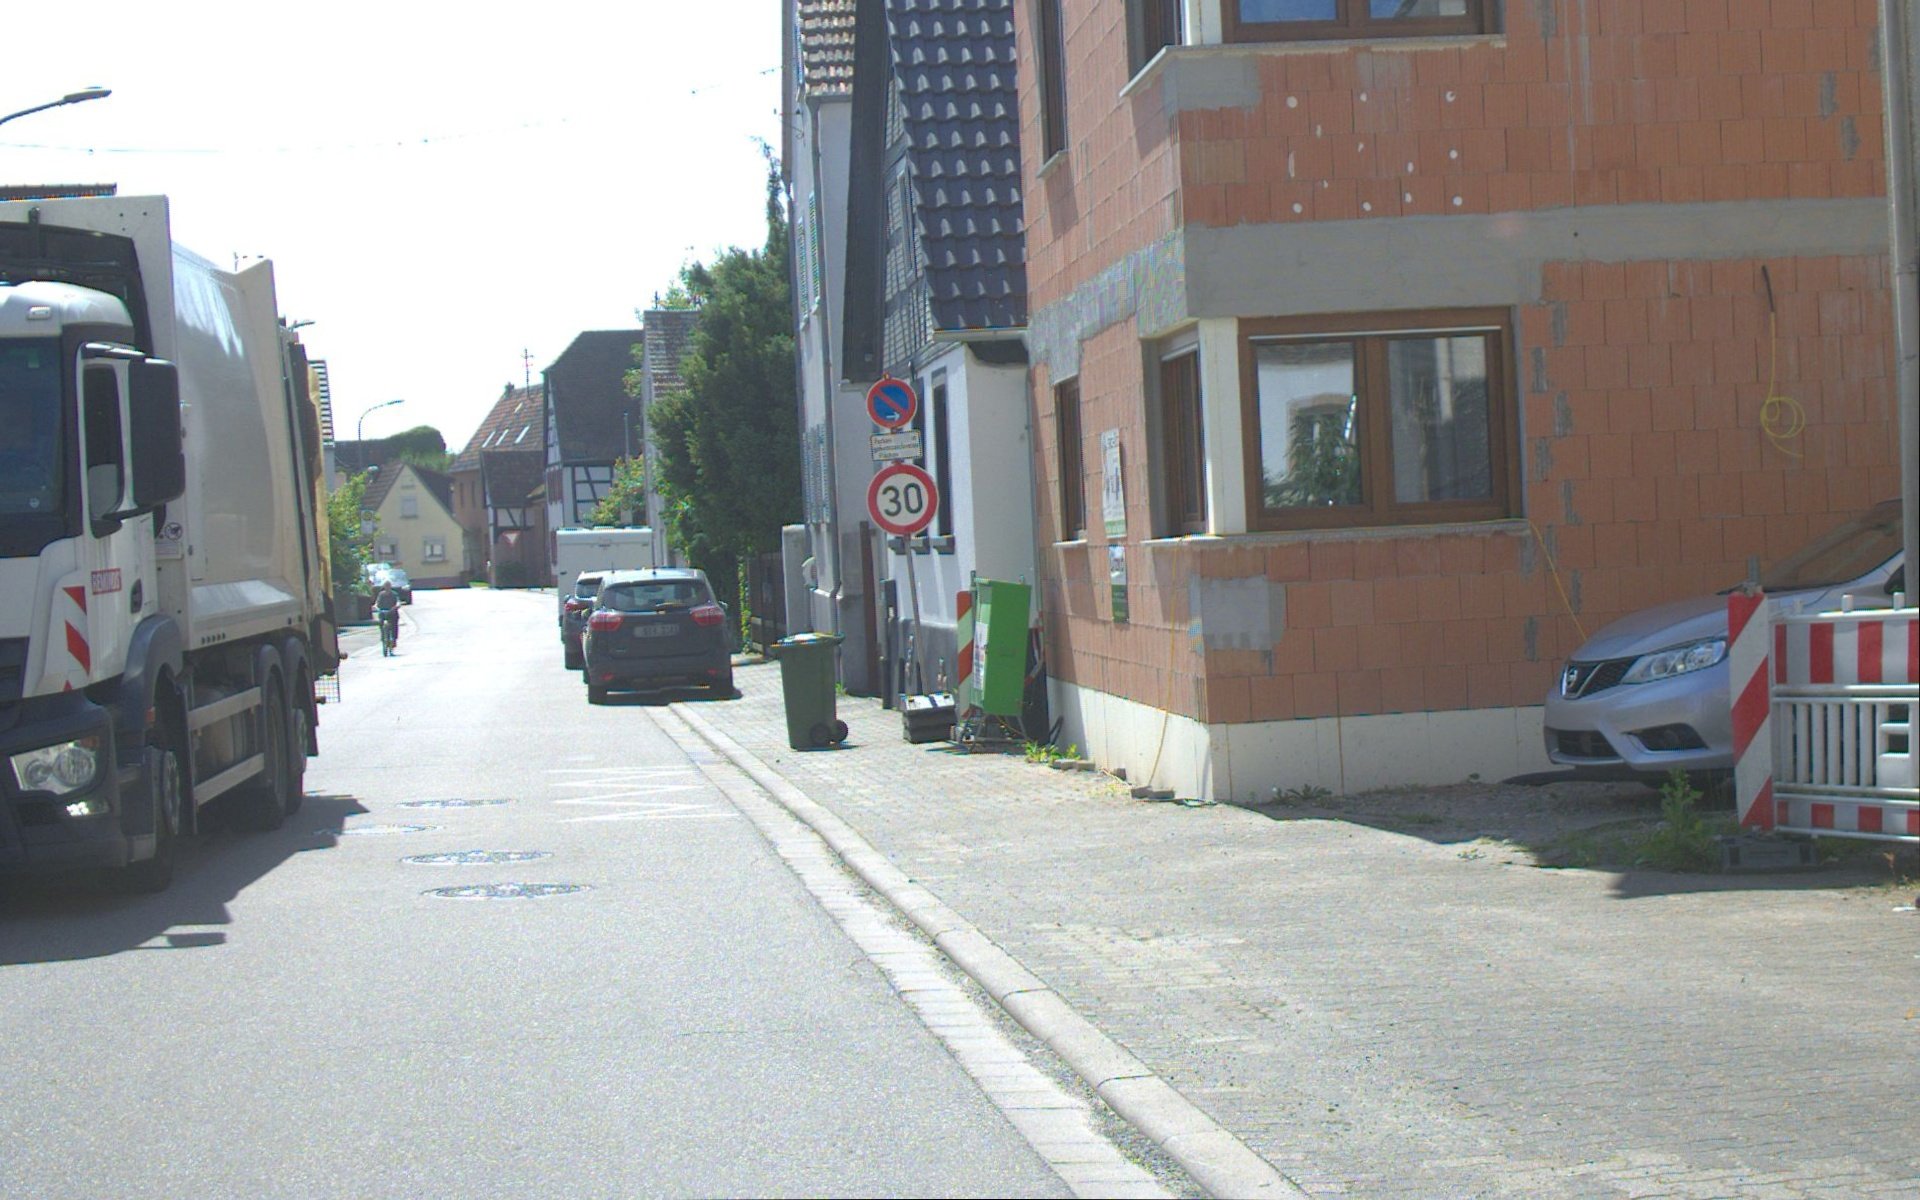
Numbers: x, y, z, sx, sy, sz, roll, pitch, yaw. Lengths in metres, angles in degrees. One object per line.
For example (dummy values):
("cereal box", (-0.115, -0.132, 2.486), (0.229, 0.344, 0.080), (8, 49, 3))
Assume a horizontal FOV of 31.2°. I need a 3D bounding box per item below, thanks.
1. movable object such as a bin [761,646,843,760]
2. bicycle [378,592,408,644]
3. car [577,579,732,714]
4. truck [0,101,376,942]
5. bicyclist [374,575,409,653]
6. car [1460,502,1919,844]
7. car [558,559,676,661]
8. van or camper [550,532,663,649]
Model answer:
("movable object such as a bin", (-1.324, 0.862, 28.848), (0.538, 0.910, 0.551), (-2, 0, 11))
("bicycle", (-13.163, 0.411, 79.788), (0.589, 1.144, 1.949), (-3, 1, -10))
("car", (-3.924, 0.547, 43.813), (1.797, 1.555, 4.632), (-2, 0, -6))
("truck", (-5.576, -0.349, 20.716), (2.695, 3.737, 10.870), (-3, 1, -3))
("bicyclist", (-13.220, 0.319, 79.910), (0.703, 1.765, 0.625), (-3, 0, -10))
("car", (4.802, 0.263, 17.191), (4.087, 1.502, 1.870), (-3, 1, -12))
("car", (-5.943, 0.140, 59.944), (1.793, 1.625, 4.361), (-3, 1, -3))
("van or camper", (-8.668, -0.242, 83.970), (2.521, 2.687, 4.556), (-2, 0, -7))
